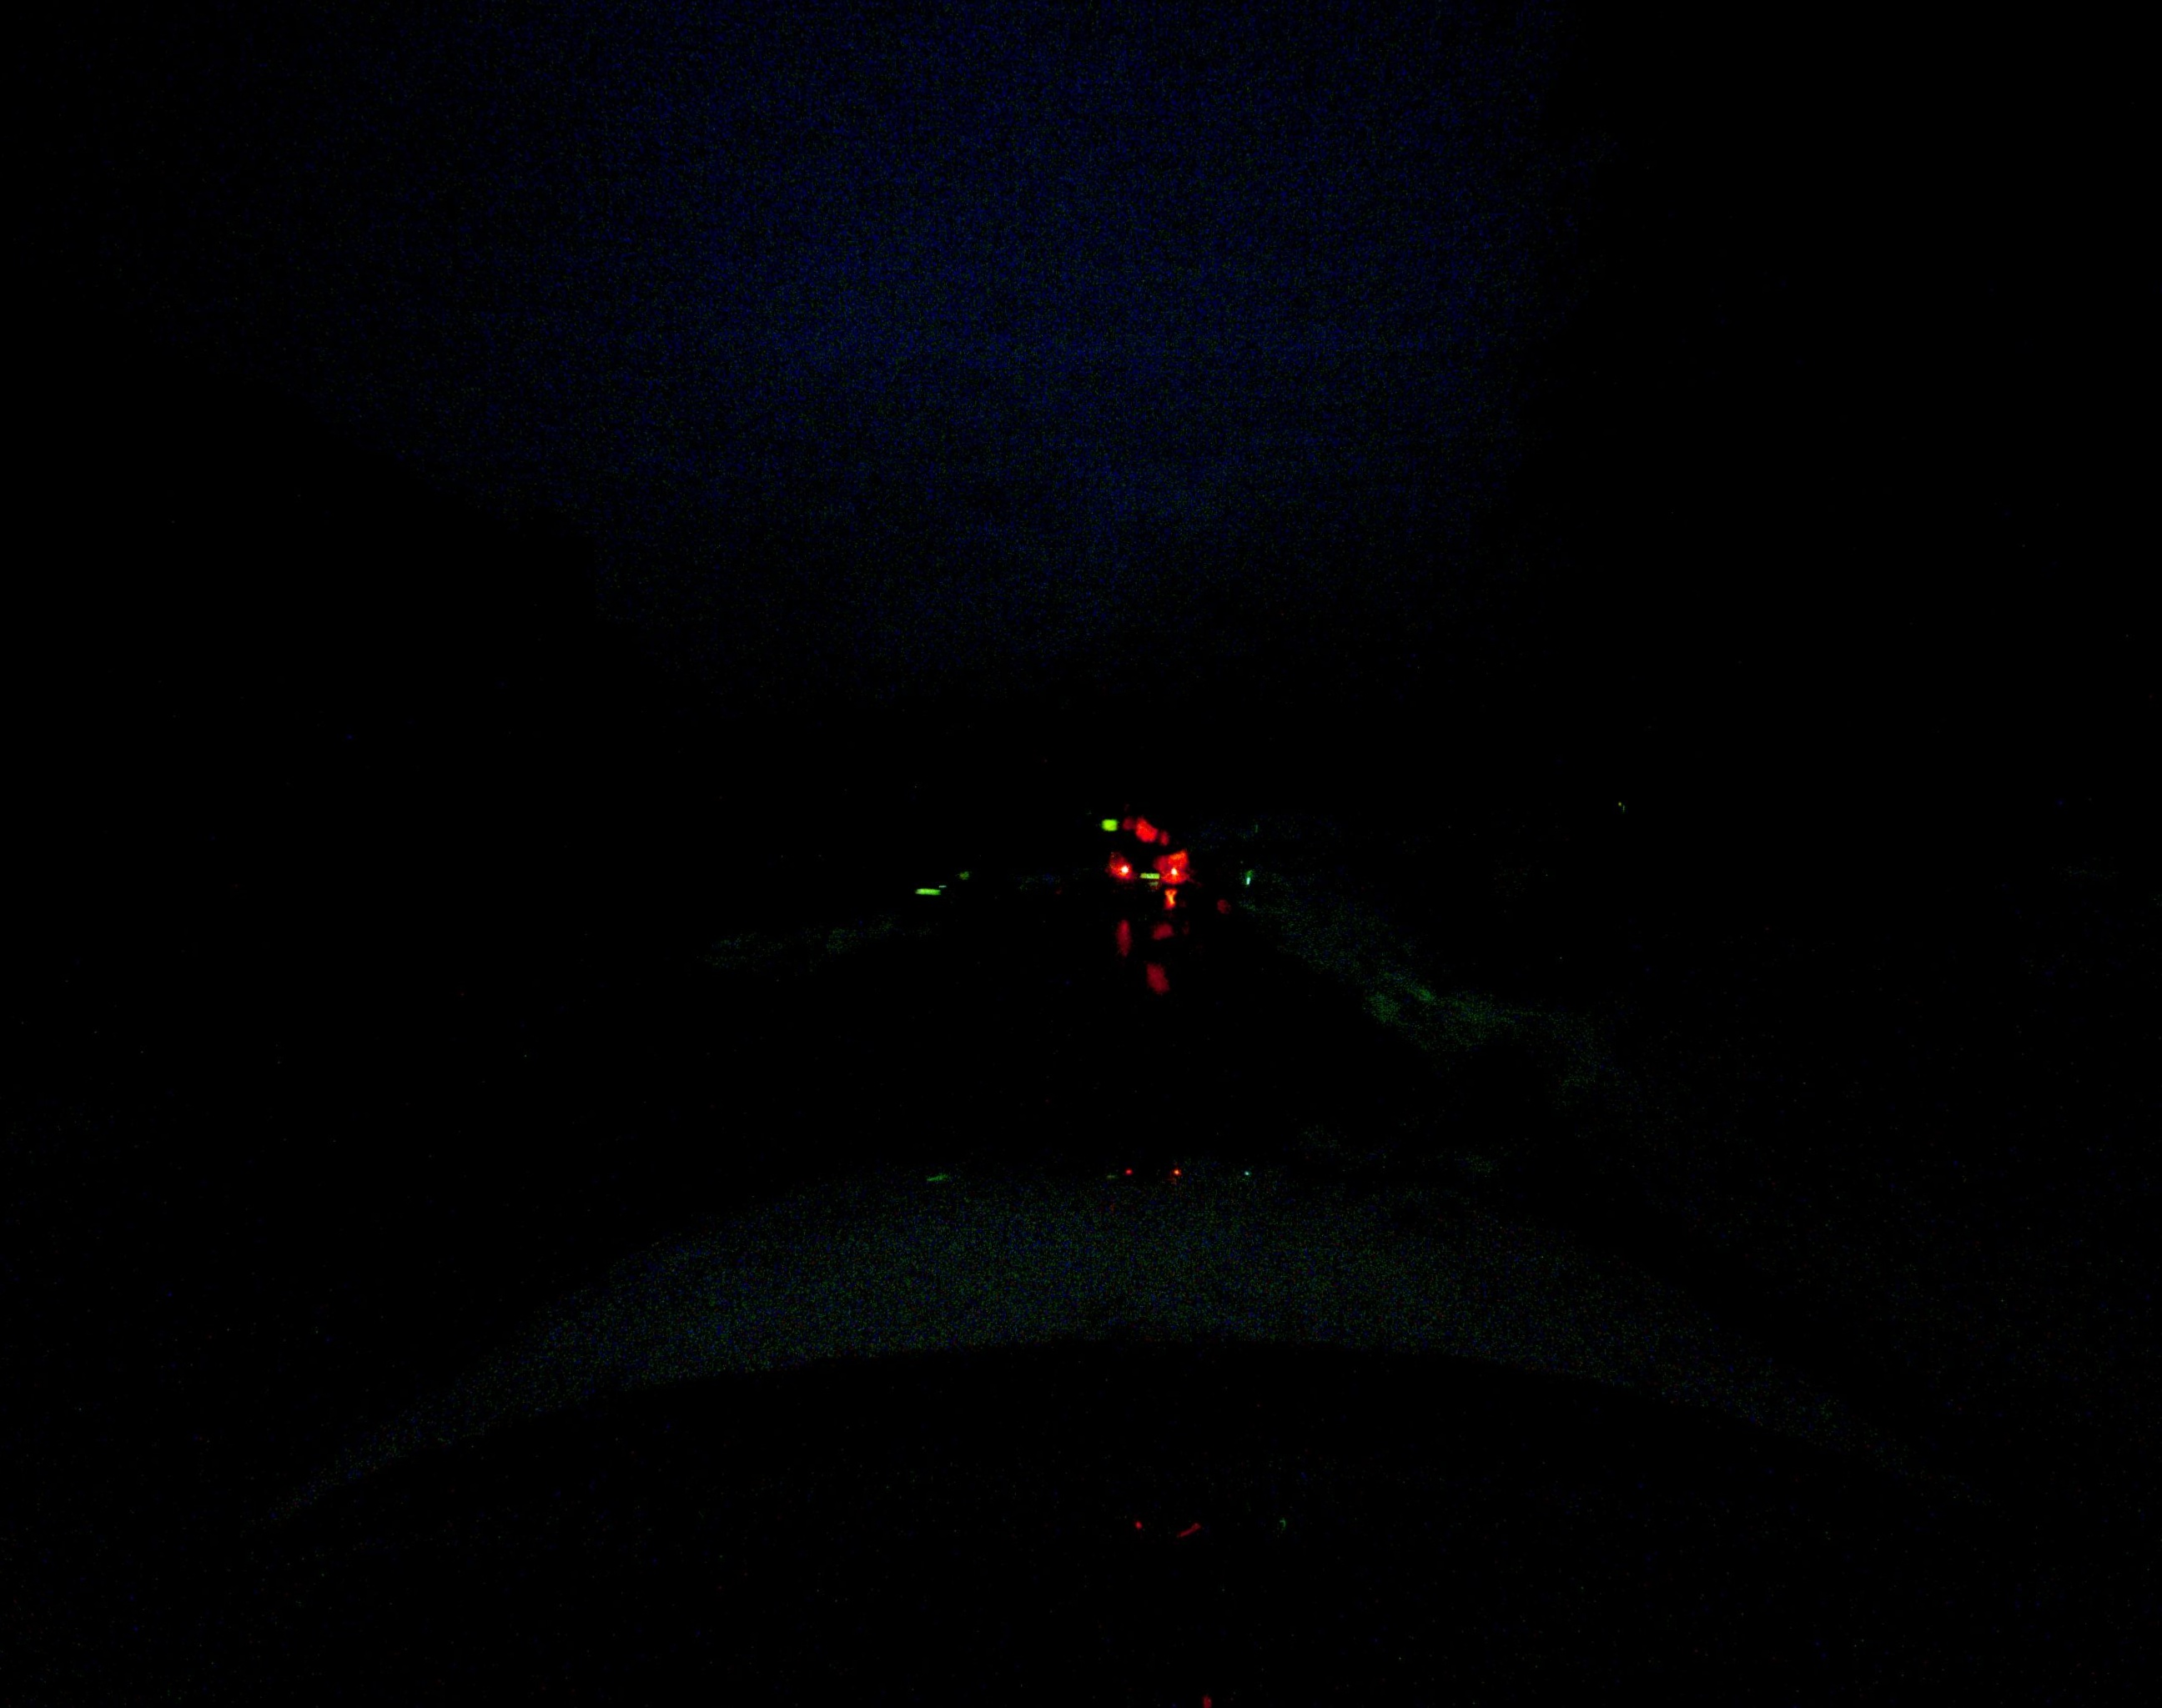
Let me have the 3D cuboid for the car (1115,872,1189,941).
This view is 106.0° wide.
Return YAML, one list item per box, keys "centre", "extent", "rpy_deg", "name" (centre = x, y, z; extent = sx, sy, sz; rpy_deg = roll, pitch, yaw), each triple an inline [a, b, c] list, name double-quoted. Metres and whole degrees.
- centre: [1.910, 1.405, 22.889]
  extent: [1.816, 1.797, 3.577]
  rpy_deg: [0, -2, 1]
  name: "car"

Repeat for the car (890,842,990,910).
- centre: [-3.485, 0.491, 20.720]
  extent: [1.711, 1.534, 3.521]
  rpy_deg: [0, 1, 4]
  name: "car"
